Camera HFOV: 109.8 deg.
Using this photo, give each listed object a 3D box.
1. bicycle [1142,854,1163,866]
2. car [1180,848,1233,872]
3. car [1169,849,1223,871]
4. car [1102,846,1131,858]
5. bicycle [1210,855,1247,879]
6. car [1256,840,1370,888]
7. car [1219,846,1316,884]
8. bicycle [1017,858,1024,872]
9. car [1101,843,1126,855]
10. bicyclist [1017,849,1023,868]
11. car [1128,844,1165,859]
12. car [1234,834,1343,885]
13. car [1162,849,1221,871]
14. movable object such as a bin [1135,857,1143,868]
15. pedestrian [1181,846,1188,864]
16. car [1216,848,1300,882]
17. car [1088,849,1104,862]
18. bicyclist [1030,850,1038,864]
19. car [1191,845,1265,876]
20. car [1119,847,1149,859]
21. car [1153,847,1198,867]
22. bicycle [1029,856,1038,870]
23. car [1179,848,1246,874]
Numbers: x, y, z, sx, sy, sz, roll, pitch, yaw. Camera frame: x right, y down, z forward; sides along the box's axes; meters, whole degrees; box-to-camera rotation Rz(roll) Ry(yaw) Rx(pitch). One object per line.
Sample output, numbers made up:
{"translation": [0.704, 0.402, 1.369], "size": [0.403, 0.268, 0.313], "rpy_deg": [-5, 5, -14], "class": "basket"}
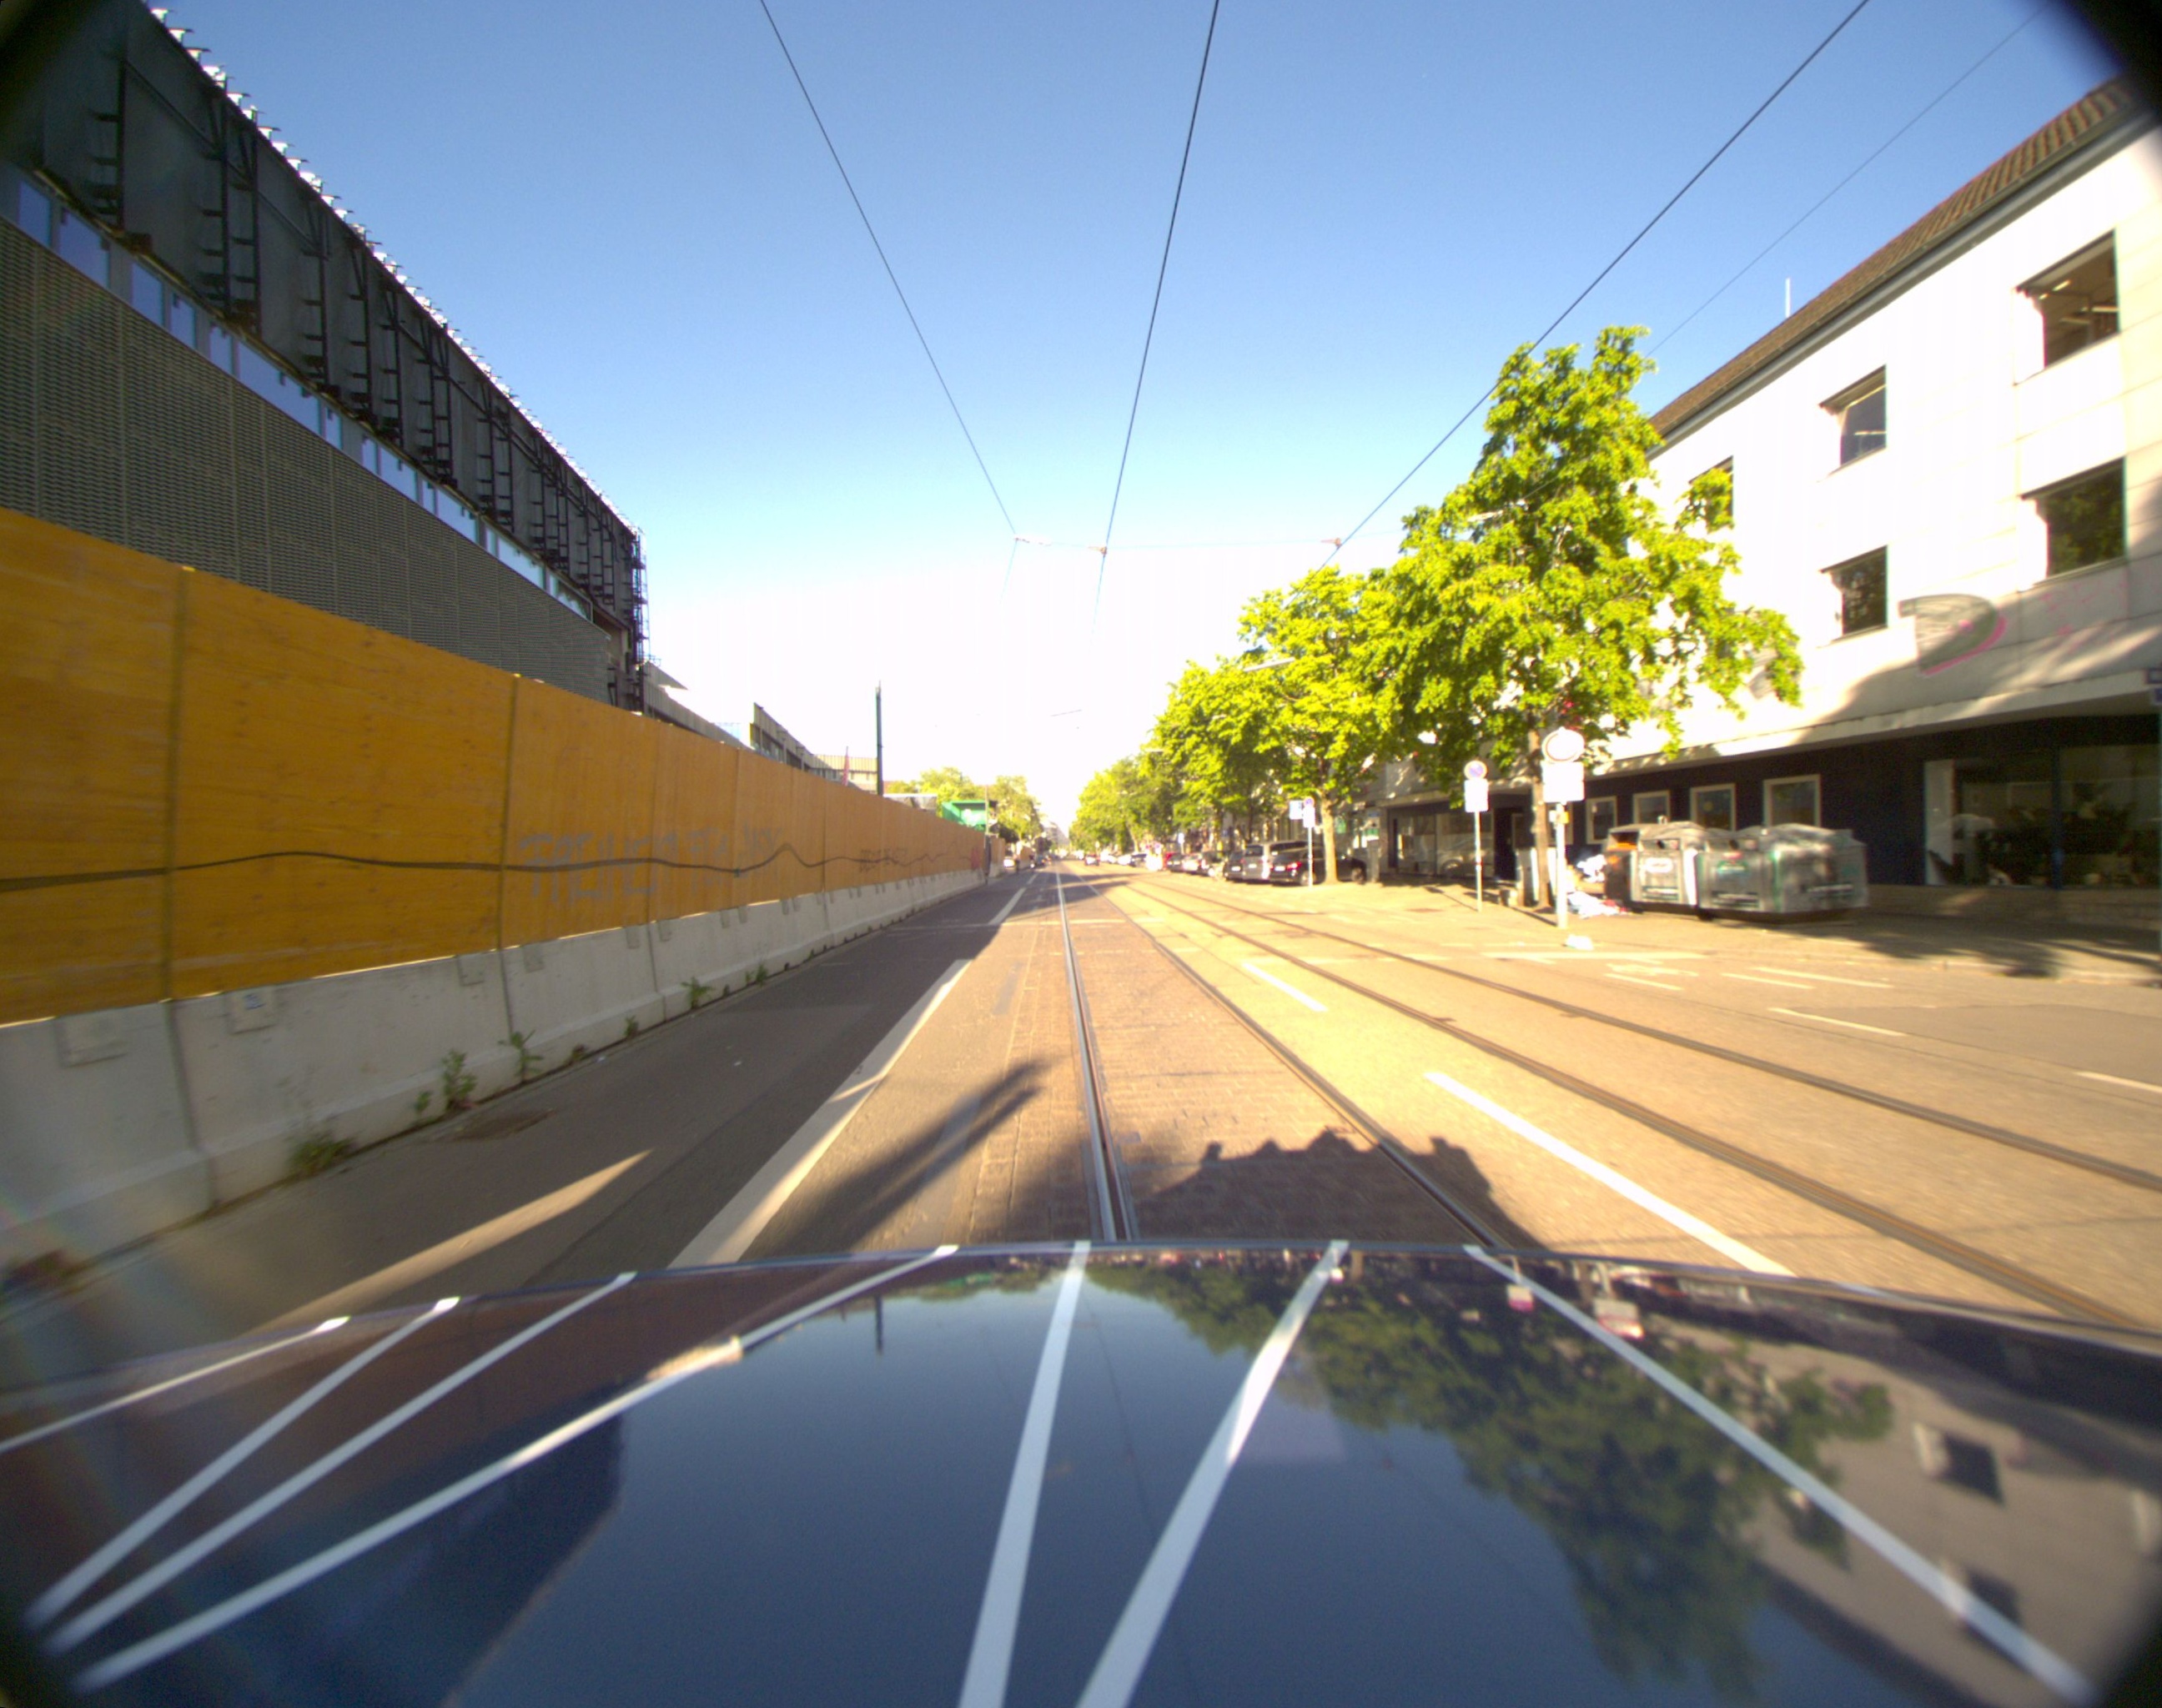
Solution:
{"translation": [7.388, 0.641, 78.321], "size": [2.008, 1.081, 0.567], "rpy_deg": [-6, 0, 1], "class": "bicycle"}
{"translation": [8.947, 0.407, 54.102], "size": [3.378, 1.484, 1.610], "rpy_deg": [-3, 0, -30], "class": "car"}
{"translation": [8.639, 0.455, 57.043], "size": [3.689, 1.462, 1.749], "rpy_deg": [-4, 1, -30], "class": "car"}
{"translation": [5.345, -0.261, 114.678], "size": [4.004, 1.667, 1.699], "rpy_deg": [-2, 0, -22], "class": "car"}
{"translation": [8.084, 0.704, 41.591], "size": [1.973, 1.138, 0.492], "rpy_deg": [-3, 1, -20], "class": "bicycle"}
{"translation": [9.649, 0.380, 31.534], "size": [4.301, 1.657, 1.908], "rpy_deg": [-4, 1, -26], "class": "car"}
{"translation": [8.974, 0.493, 36.528], "size": [4.253, 1.675, 1.807], "rpy_deg": [-2, 1, -22], "class": "car"}
{"translation": [-5.102, 0.890, 63.709], "size": [0.559, 1.120, 2.275], "rpy_deg": [-1, 0, -4], "class": "bicycle"}
{"translation": [6.039, -1.006, 142.937], "size": [4.449, 2.105, 2.163], "rpy_deg": [-2, 0, -4], "class": "car"}
{"translation": [-5.145, 0.345, 64.091], "size": [0.557, 1.603, 0.576], "rpy_deg": [-1, 0, -4], "class": "bicyclist"}
{"translation": [7.581, -0.336, 87.589], "size": [3.903, 1.599, 1.572], "rpy_deg": [-2, 1, -11], "class": "car"}
{"translation": [9.335, 0.225, 34.198], "size": [4.372, 1.975, 1.946], "rpy_deg": [-4, 1, -23], "class": "car"}
{"translation": [8.654, 0.441, 59.631], "size": [4.208, 1.482, 1.939], "rpy_deg": [-3, 0, -28], "class": "car"}
{"translation": [6.261, 0.914, 81.820], "size": [0.685, 1.071, 0.710], "rpy_deg": [-5, 0, 0], "class": "movable object such as a bin"}
{"translation": [10.874, 0.110, 79.732], "size": [0.645, 1.827, 0.624], "rpy_deg": [-1, 1, 0], "class": "pedestrian"}
{"translation": [9.247, 0.566, 39.766], "size": [3.872, 1.468, 1.840], "rpy_deg": [-4, 1, -24], "class": "car"}
{"translation": [1.994, 0.163, 100.772], "size": [1.932, 1.620, 4.248], "rpy_deg": [-3, 0, 0], "class": "car"}
{"translation": [-3.985, 0.252, 64.030], "size": [0.653, 1.230, 0.353], "rpy_deg": [-1, 0, -4], "class": "bicyclist"}
{"translation": [9.217, 0.382, 47.832], "size": [4.116, 1.668, 1.840], "rpy_deg": [-4, 1, -4], "class": "car"}
{"translation": [7.167, -0.193, 103.005], "size": [3.651, 1.521, 1.883], "rpy_deg": [-2, 1, -21], "class": "car"}
{"translation": [8.609, 0.258, 69.212], "size": [3.629, 1.544, 1.665], "rpy_deg": [-3, -1, -28], "class": "car"}
{"translation": [-4.014, 0.755, 63.877], "size": [0.669, 1.148, 2.275], "rpy_deg": [-1, 0, -4], "class": "bicycle"}
{"translation": [8.903, 0.486, 51.222], "size": [4.123, 1.503, 1.837], "rpy_deg": [-3, 0, -28], "class": "car"}
